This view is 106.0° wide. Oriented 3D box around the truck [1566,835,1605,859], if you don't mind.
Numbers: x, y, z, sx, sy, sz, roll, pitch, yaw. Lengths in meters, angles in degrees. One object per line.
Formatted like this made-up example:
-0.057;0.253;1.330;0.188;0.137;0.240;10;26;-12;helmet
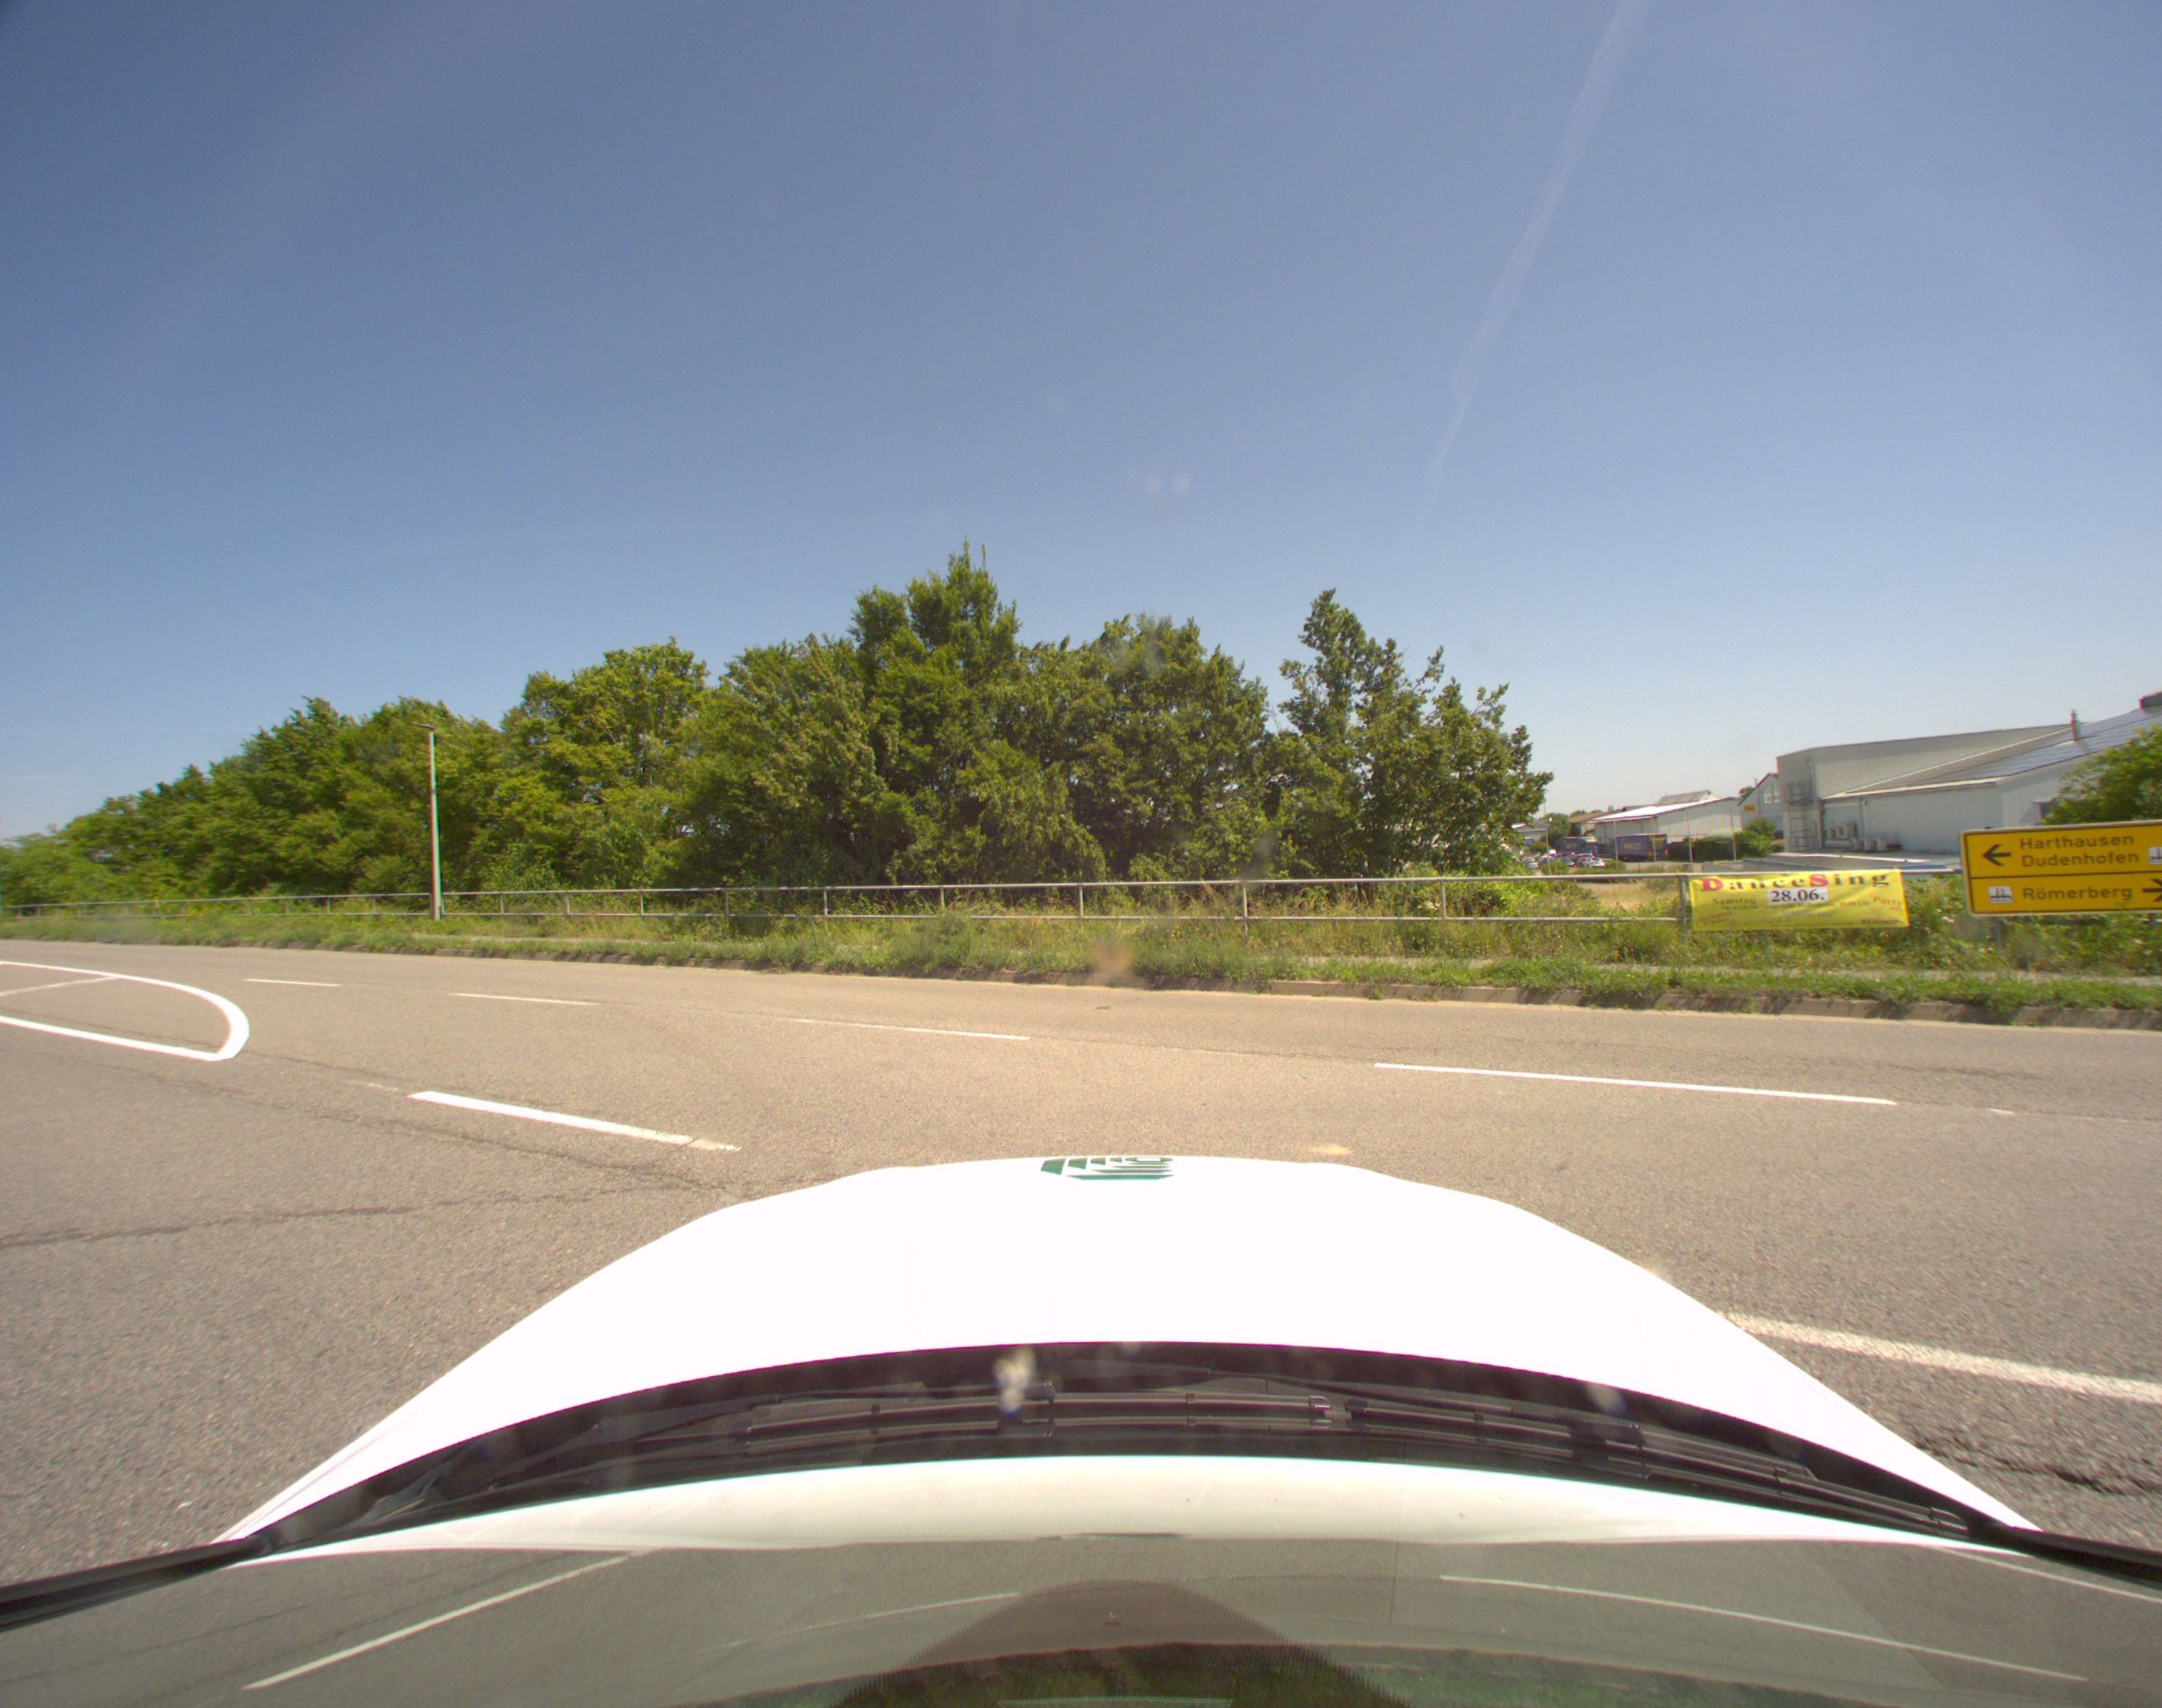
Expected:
97.634;-1.378;157.946;3.383;4.311;14.665;-2;0;20;truck

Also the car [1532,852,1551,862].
82.781;0.553;146.468;1.977;1.731;4.886;-2;0;19;car

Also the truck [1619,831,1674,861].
86.578;-1.210;124.977;3.676;4.311;13.411;-2;-1;21;truck

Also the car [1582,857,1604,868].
71.256;1.172;113.479;1.669;1.363;3.855;-5;-1;19;car
